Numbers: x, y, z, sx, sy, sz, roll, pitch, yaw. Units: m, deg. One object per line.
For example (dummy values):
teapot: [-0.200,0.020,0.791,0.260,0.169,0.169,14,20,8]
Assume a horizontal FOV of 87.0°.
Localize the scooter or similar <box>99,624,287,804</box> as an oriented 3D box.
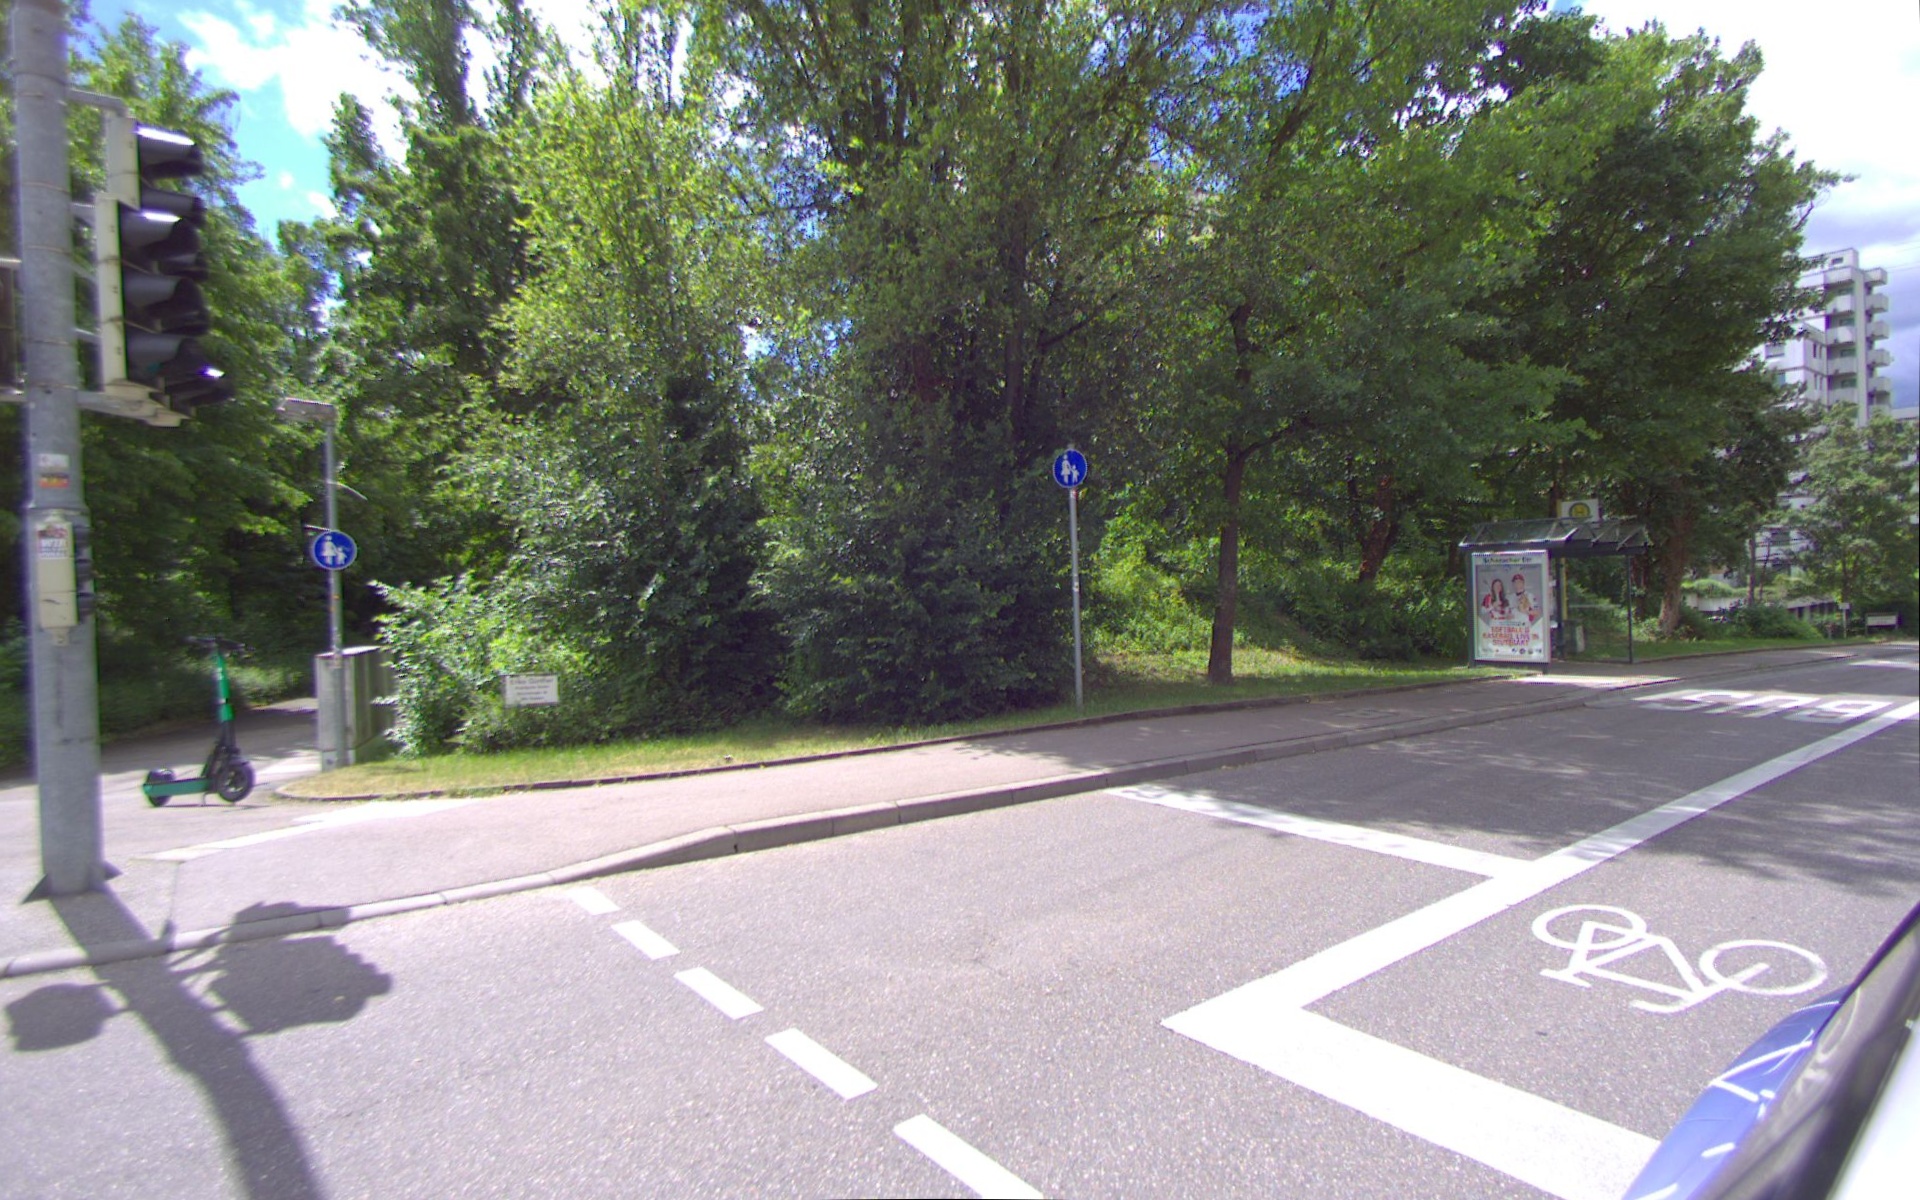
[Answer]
scooter or similar: [-5.921,0.877,7.827,1.193,1.310,0.532,-3,-5,16]
